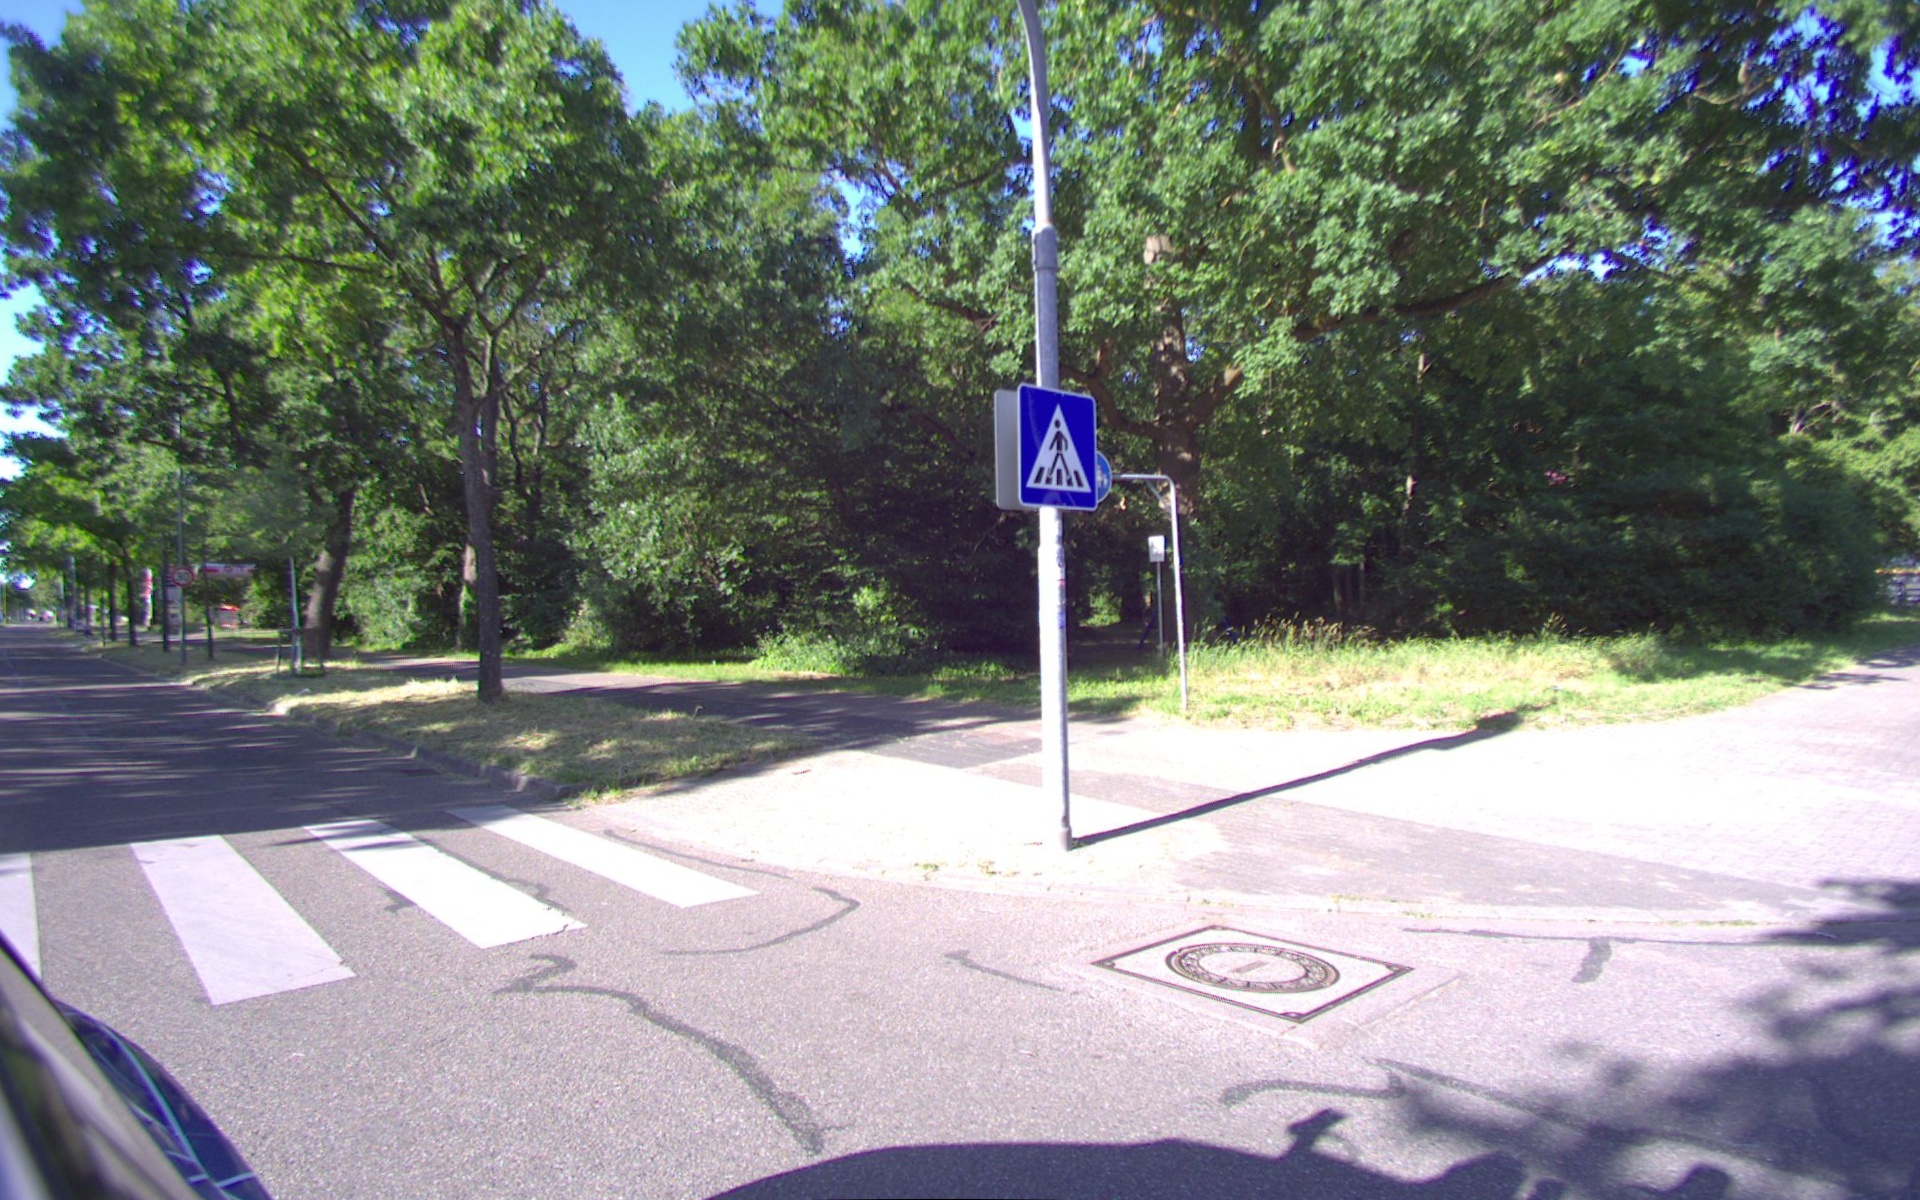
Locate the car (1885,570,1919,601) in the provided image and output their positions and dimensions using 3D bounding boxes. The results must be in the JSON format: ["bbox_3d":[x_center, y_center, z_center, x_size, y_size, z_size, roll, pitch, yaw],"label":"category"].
[{"bbox_3d":[56.648,-0.892,60.278,3.776,1.757,1.766,-1,0,-40],"label":"car"}]
